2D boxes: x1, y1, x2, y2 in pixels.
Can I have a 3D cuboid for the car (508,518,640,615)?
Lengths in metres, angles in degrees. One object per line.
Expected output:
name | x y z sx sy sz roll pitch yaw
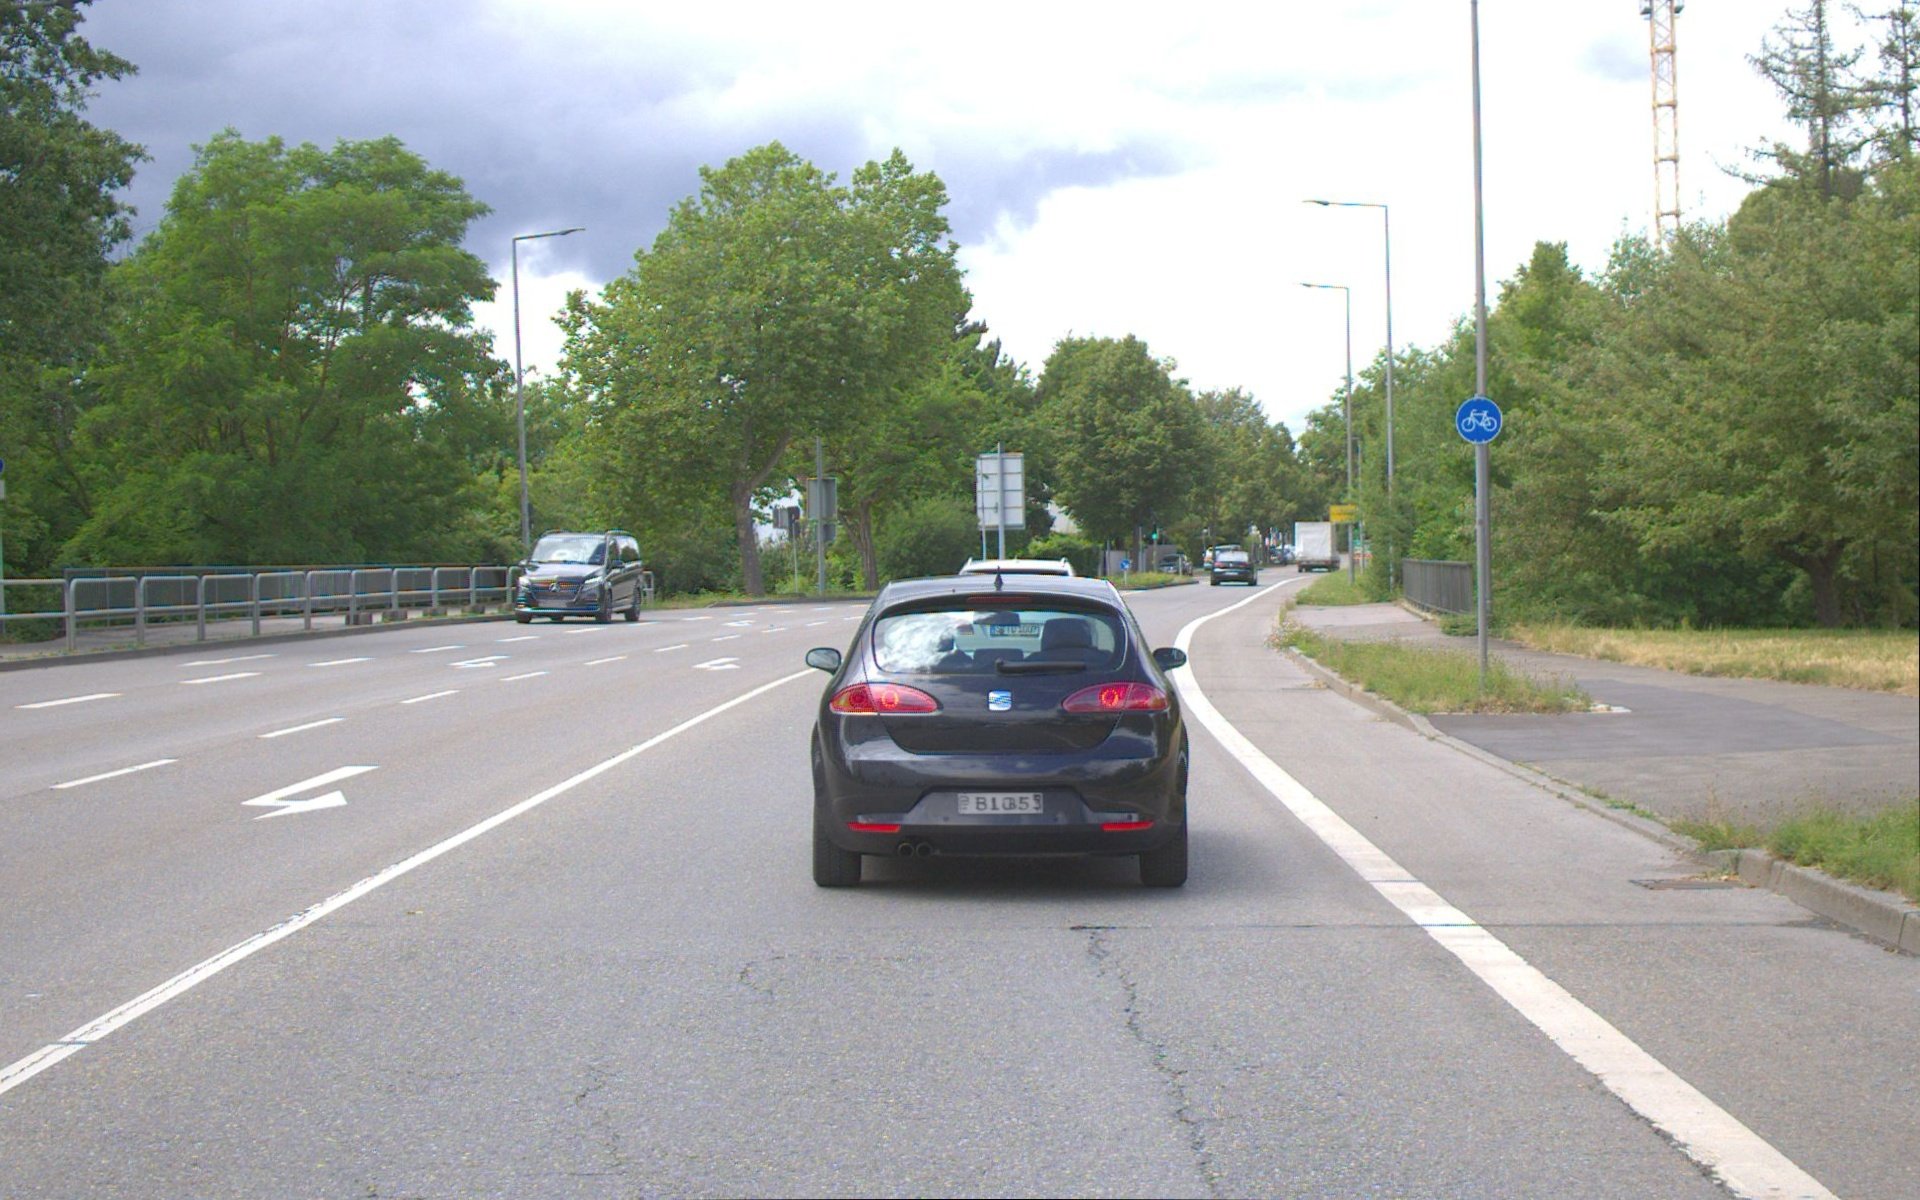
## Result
car | -8.071 -0.724 72.325 2.018 1.940 5.365 -1 1 2

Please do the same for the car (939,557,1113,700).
car | 0.789 0.283 38.603 1.846 1.504 3.811 0 1 3

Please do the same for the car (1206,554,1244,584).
car | 18.258 -2.133 236.598 2.100 1.890 5.782 -3 0 9

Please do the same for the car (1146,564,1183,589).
car | 12.416 -1.449 208.239 1.718 1.390 4.799 -3 0 9

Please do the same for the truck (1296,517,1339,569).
truck | 22.171 -3.482 212.796 2.279 3.093 8.508 1 1 8

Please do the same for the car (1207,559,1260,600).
car | 11.464 -0.871 144.084 1.882 1.683 4.212 -1 1 9

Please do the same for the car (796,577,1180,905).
car | 0.209 0.600 16.875 1.663 1.396 3.811 0 1 3
